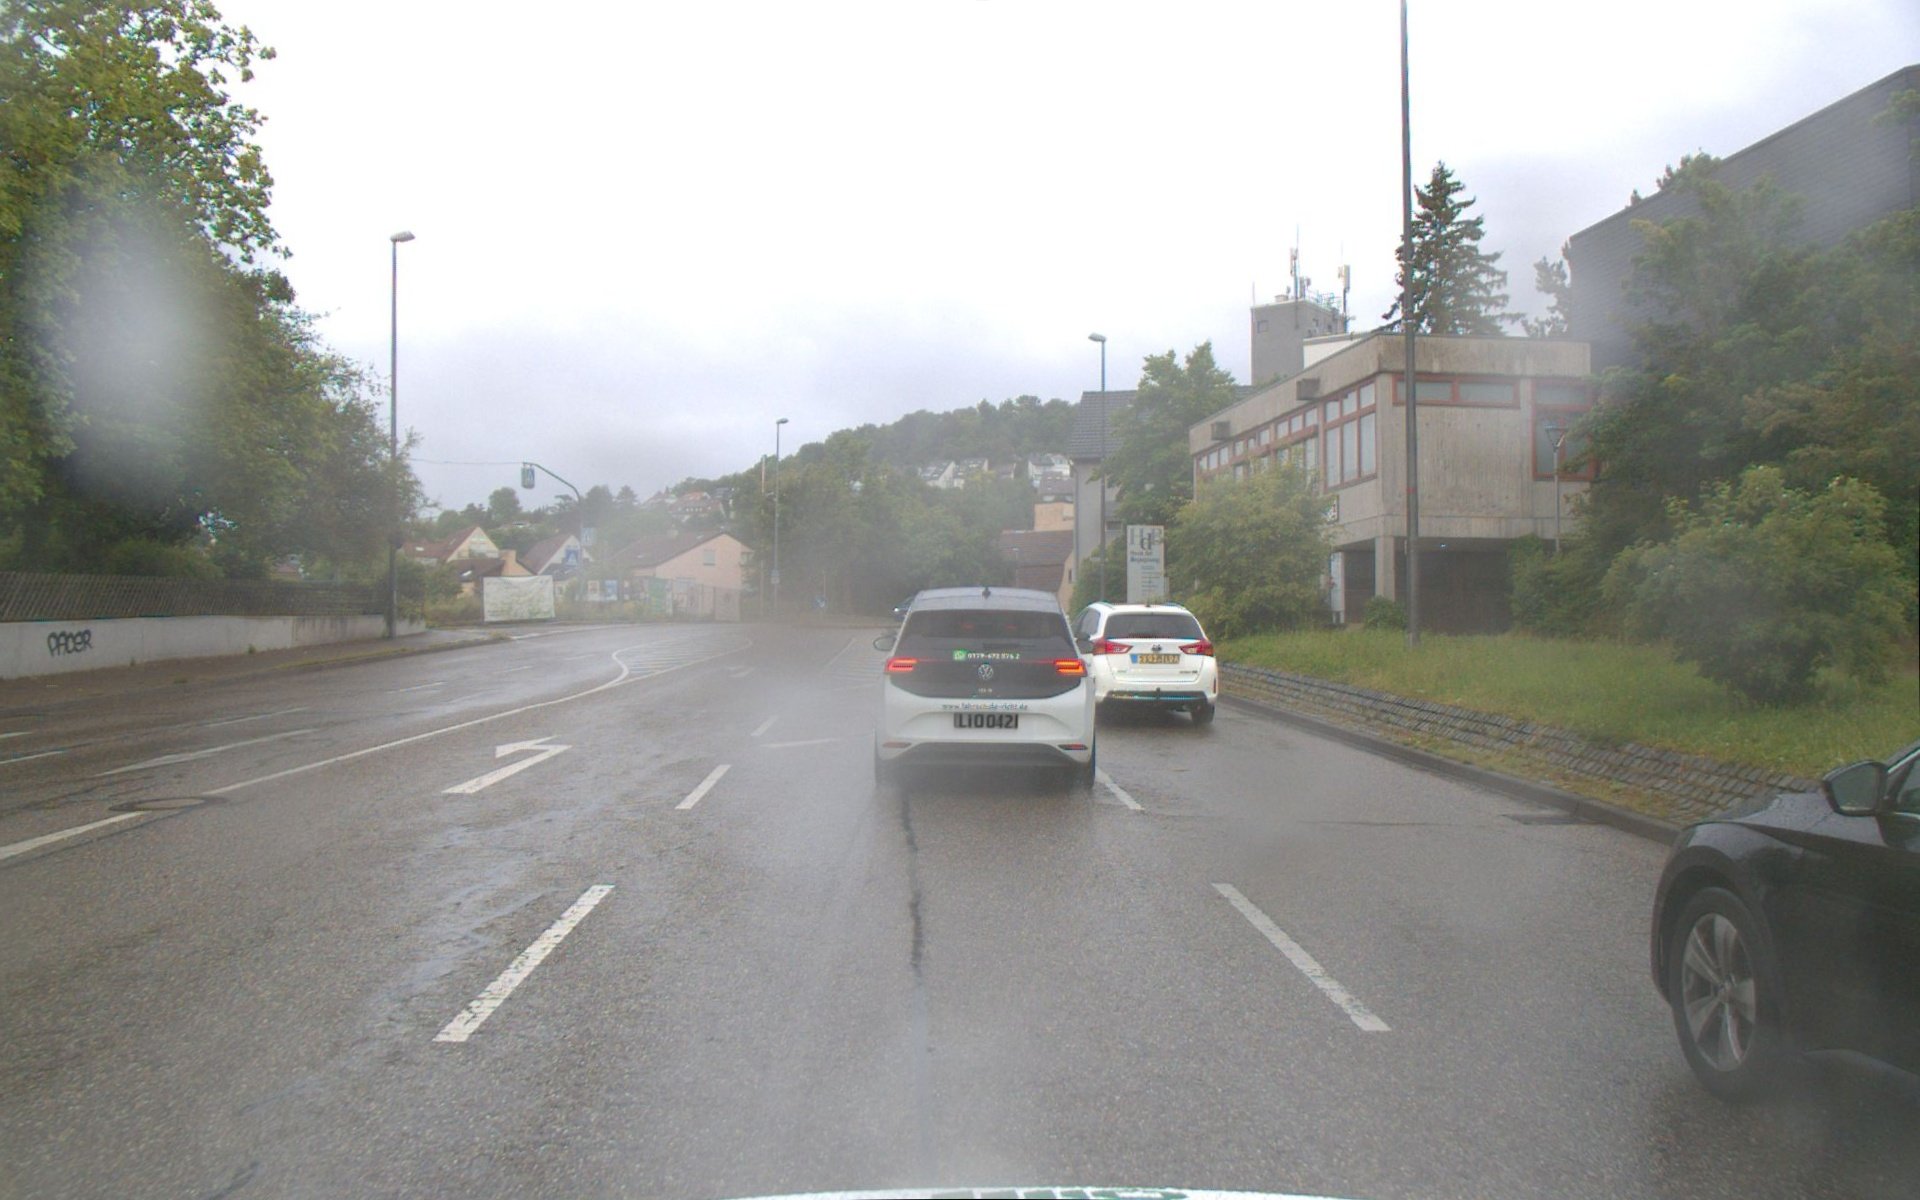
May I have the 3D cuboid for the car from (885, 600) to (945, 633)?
[{"bbox_3d":[-2.516,0.949,93.285,1.951,1.723,4.707,1,-1,17],"label":"car"}]

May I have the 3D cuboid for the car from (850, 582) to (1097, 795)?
[{"bbox_3d":[0.166,0.675,14.150,1.790,1.526,4.169,1,-1,2],"label":"car"}]

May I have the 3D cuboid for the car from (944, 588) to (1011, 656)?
[{"bbox_3d":[0.388,0.489,39.877,1.535,1.557,3.999,0,0,-1],"label":"car"}]

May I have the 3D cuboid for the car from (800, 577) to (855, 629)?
[{"bbox_3d":[-5.510,0.165,69.078,1.953,2.049,3.999,1,-1,0],"label":"car"}]

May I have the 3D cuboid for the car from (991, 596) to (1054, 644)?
[{"bbox_3d":[2.058,0.669,54.826,1.952,1.478,3.771,-2,-1,2],"label":"car"}]

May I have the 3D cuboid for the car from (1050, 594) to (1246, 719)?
[{"bbox_3d":[2.301,0.689,21.335,1.811,1.434,4.298,1,-1,-3],"label":"car"}]

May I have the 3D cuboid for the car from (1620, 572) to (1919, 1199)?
[{"bbox_3d":[3.340,0.733,3.469,1.915,1.534,4.606,3,-1,-2],"label":"car"}]
